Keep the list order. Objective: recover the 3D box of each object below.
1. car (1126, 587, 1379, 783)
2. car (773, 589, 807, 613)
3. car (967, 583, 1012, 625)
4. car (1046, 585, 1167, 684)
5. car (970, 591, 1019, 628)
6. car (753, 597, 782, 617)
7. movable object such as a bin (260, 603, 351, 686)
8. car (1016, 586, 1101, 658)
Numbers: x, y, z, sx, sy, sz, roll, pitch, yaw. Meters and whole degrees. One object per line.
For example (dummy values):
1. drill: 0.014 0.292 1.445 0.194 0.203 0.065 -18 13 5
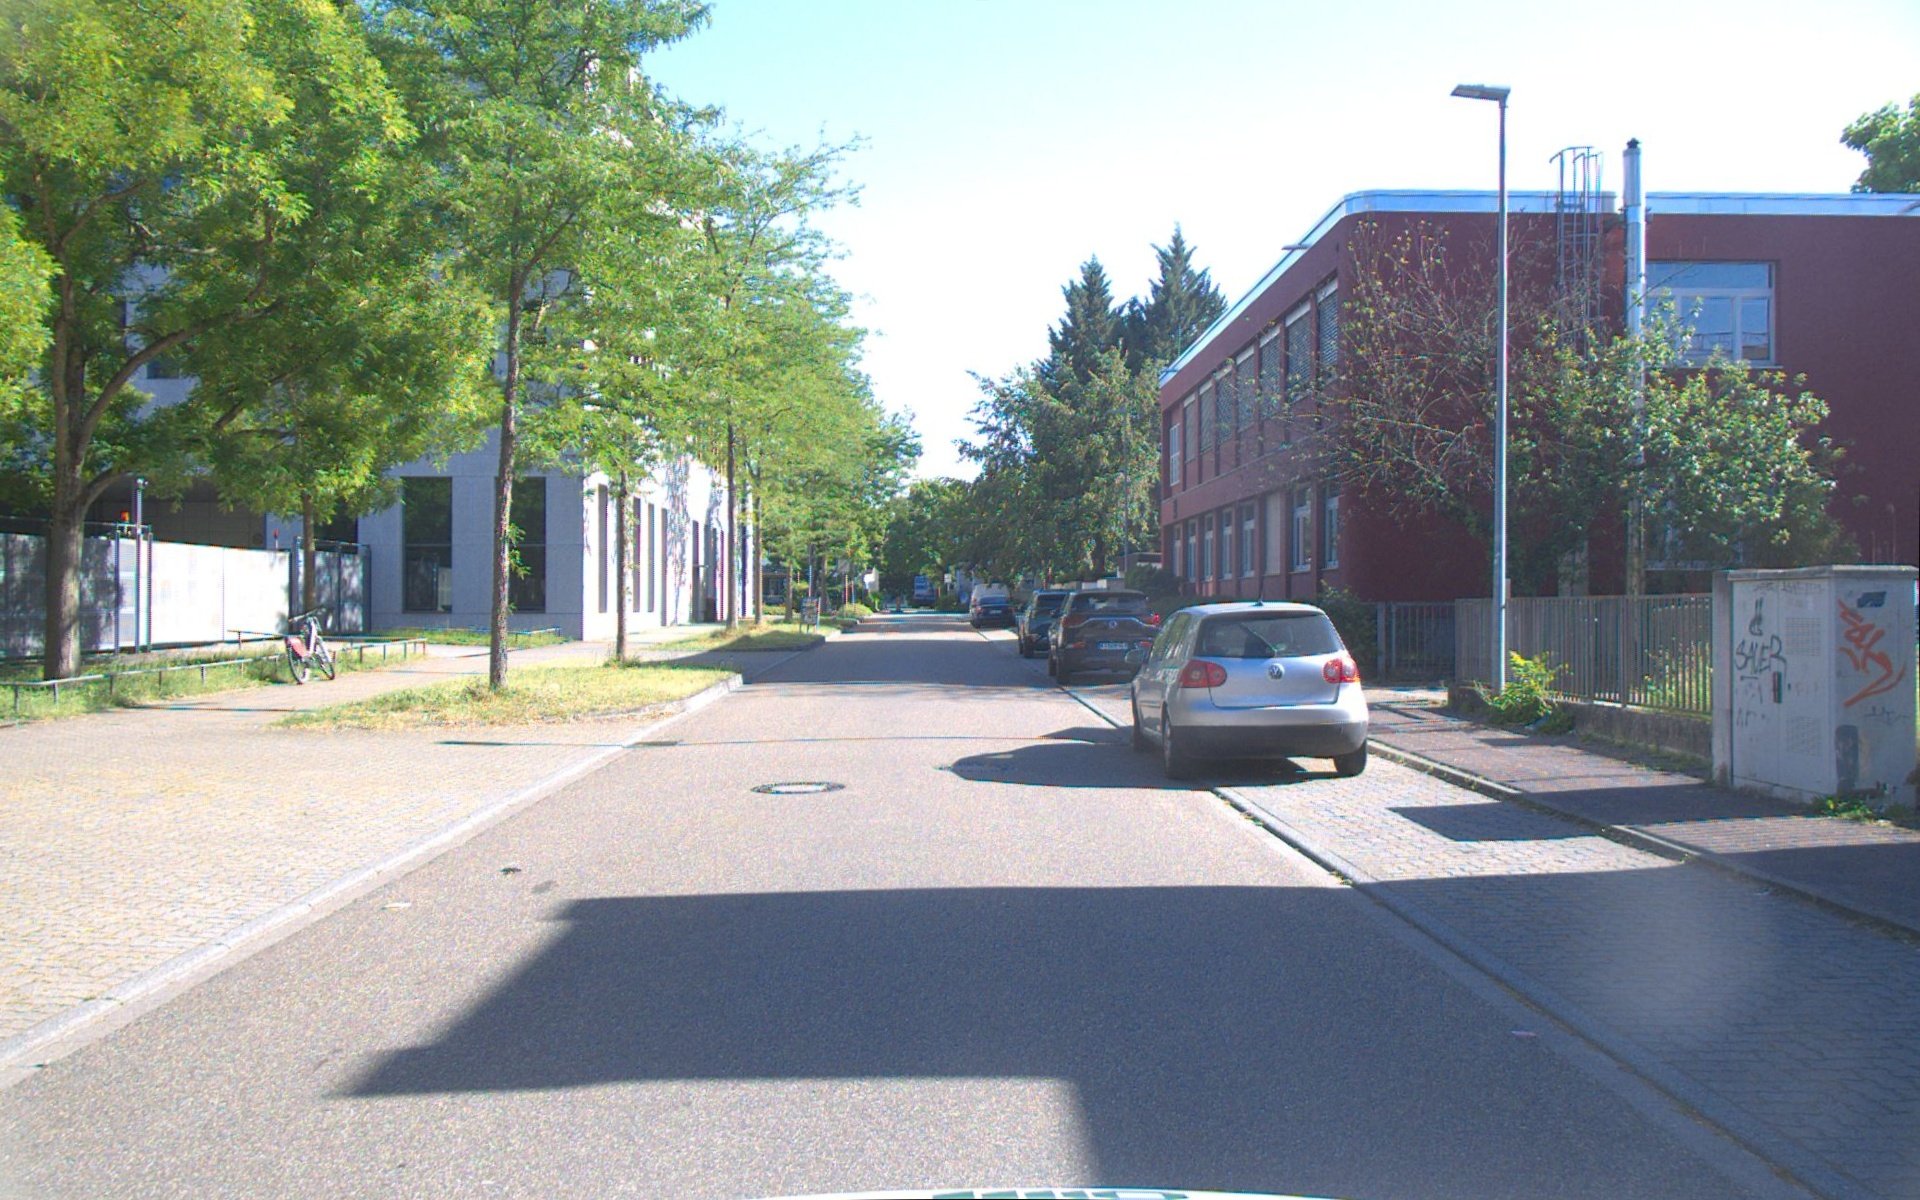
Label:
1. car: 2.575 0.678 15.406 1.626 1.588 3.934 0 0 -1
2. car: -10.710 0.069 104.353 1.954 1.483 3.790 1 0 -4
3. car: 1.385 0.175 79.486 1.953 1.866 3.999 -3 0 -1
4. car: 2.578 0.574 29.915 1.800 1.662 4.201 0 0 0
5. car: 1.502 0.408 73.695 1.953 1.467 3.999 -3 0 -1
6. car: -13.391 0.449 115.194 1.868 1.365 3.790 0 0 -4
7. movable object such as a bin: -9.912 0.656 25.114 0.649 1.202 1.935 0 0 -1
8. car: 2.391 0.515 41.035 1.817 1.677 3.999 -1 0 -1
